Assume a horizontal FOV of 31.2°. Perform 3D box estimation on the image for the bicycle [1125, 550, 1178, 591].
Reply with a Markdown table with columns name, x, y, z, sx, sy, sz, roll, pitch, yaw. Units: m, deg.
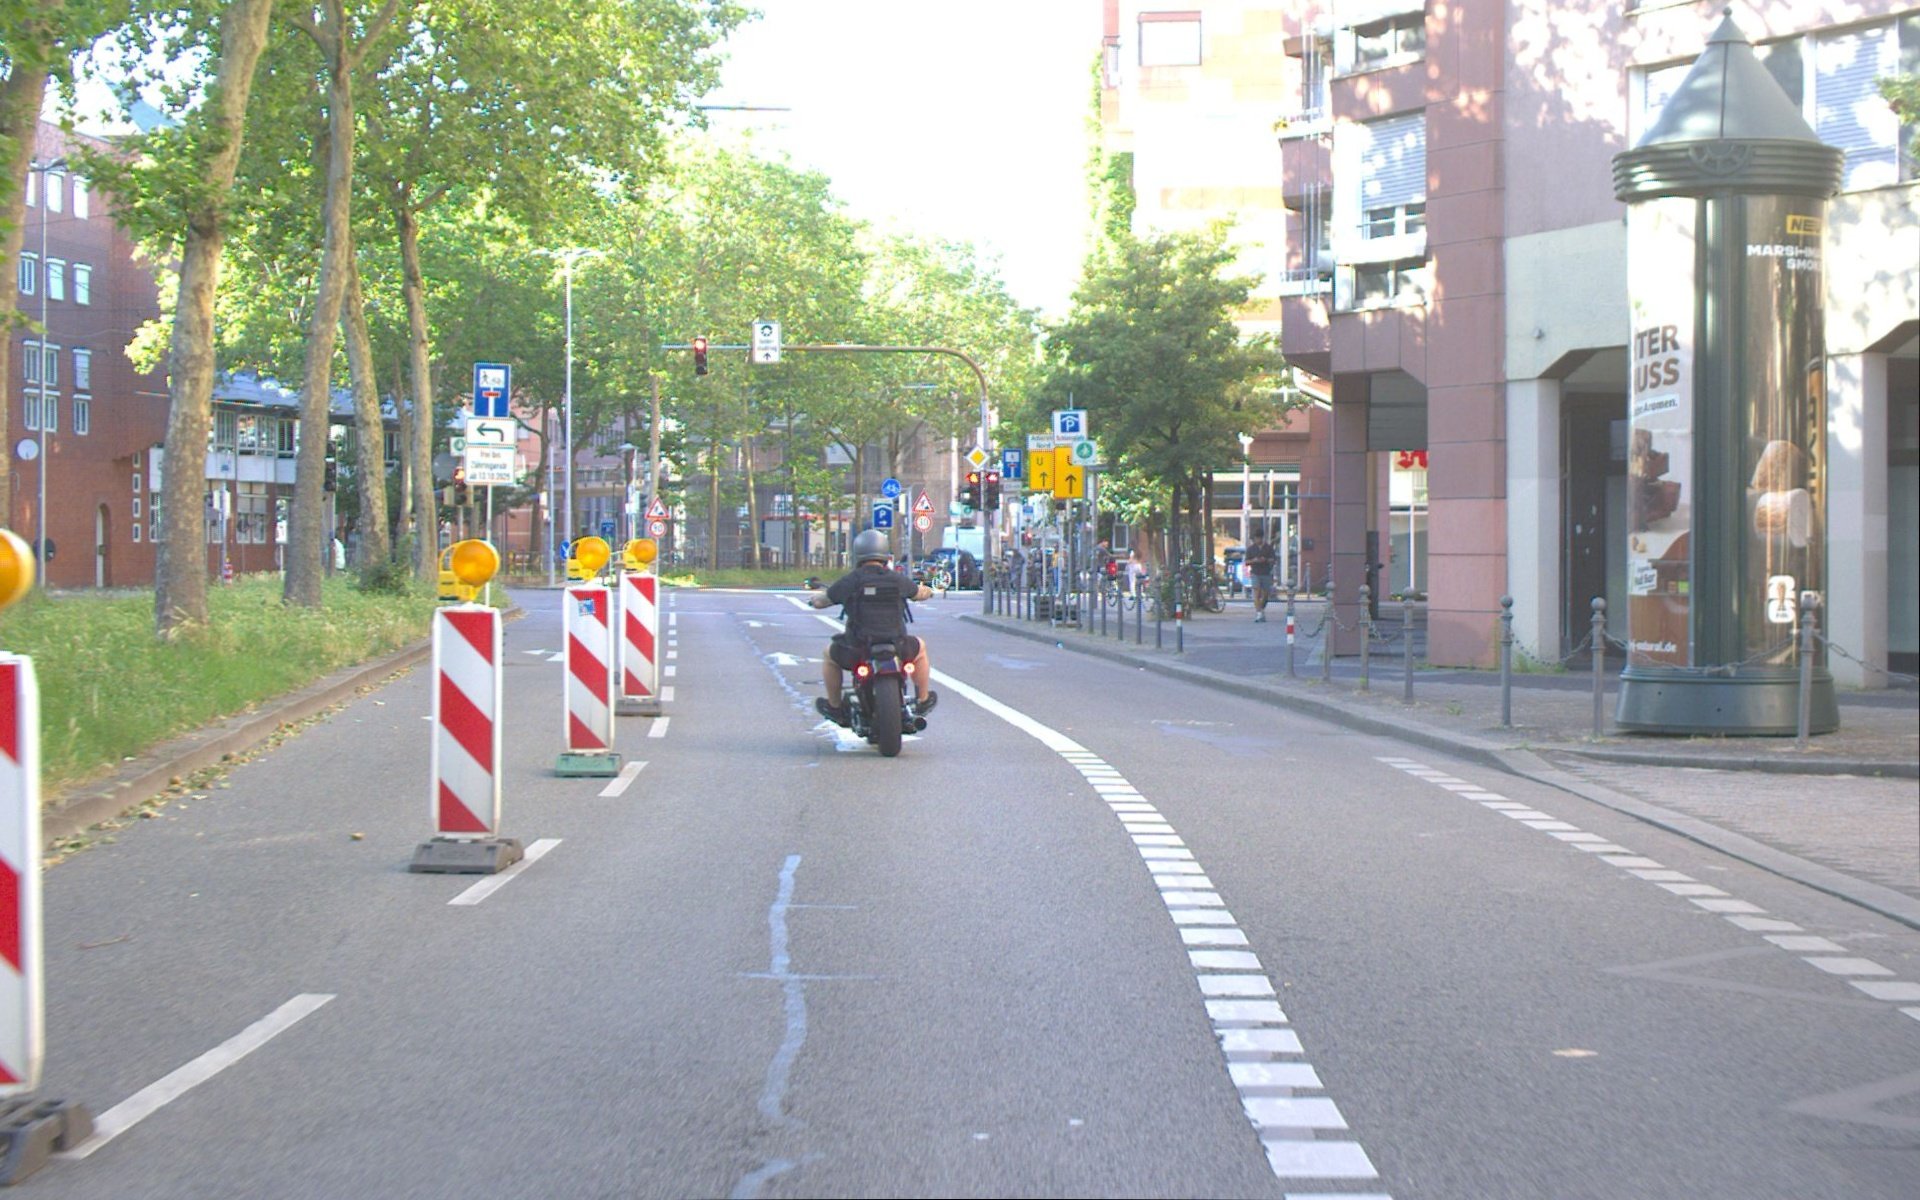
| name | x | y | z | sx | sy | sz | roll | pitch | yaw |
| --- | --- | --- | --- | --- | --- | --- | --- | --- | --- |
| bicycle | 5.771 | -0.878 | 103.495 | 1.567 | 1.223 | 0.577 | 0 | 1 | 2 |

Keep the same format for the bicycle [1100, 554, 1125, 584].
| name | x | y | z | sx | sy | sz | roll | pitch | yaw |
| --- | --- | --- | --- | --- | --- | --- | --- | --- | --- |
| bicycle | 4.946 | -1.007 | 111.527 | 0.737 | 0.936 | 1.752 | 0 | 1 | 0 |

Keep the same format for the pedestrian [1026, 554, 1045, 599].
| name | x | y | z | sx | sy | sz | roll | pitch | yaw |
| --- | --- | --- | --- | --- | --- | --- | --- | --- | --- |
| pedestrian | 2.678 | -0.846 | 121.280 | 0.644 | 1.573 | 0.748 | 0 | 1 | 0 |

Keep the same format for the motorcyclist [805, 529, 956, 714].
| name | x | y | z | sx | sy | sz | roll | pitch | yaw |
| --- | --- | --- | --- | --- | --- | --- | --- | --- | --- |
| motorcyclist | -0.575 | 0.144 | 24.659 | 1.011 | 1.258 | 0.774 | 2 | 1 | -2 |

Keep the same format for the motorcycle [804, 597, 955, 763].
| name | x | y | z | sx | sy | sz | roll | pitch | yaw |
| --- | --- | --- | --- | --- | --- | --- | --- | --- | --- |
| motorcycle | -0.588 | 0.548 | 24.530 | 1.018 | 1.093 | 2.008 | 1 | 1 | -2 |

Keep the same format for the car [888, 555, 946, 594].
| name | x | y | z | sx | sy | sz | roll | pitch | yaw |
| --- | --- | --- | --- | --- | --- | --- | --- | --- | --- |
| car | -1.458 | -0.901 | 119.246 | 1.620 | 1.298 | 4.311 | 0 | 1 | 5 |

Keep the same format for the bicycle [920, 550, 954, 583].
| name | x | y | z | sx | sy | sz | roll | pitch | yaw |
| --- | --- | --- | --- | --- | --- | --- | --- | --- | --- |
| bicycle | -0.747 | -1.092 | 112.107 | 0.737 | 1.049 | 1.753 | 0 | 1 | -13 |

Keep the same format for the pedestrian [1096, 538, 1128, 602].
| name | x | y | z | sx | sy | sz | roll | pitch | yaw |
| --- | --- | --- | --- | --- | --- | --- | --- | --- | --- |
| pedestrian | 4.157 | -0.817 | 94.169 | 0.785 | 1.757 | 0.610 | 0 | 1 | -6 |

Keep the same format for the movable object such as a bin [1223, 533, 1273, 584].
| name | x | y | z | sx | sy | sz | roll | pitch | yaw |
| --- | --- | --- | --- | --- | --- | --- | --- | --- | --- |
| movable object such as a bin | 8.455 | -1.212 | 100.896 | 1.410 | 1.477 | 0.871 | 0 | 1 | 8 |

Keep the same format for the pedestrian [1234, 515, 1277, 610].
| name | x | y | z | sx | sy | sz | roll | pitch | yaw |
| --- | --- | --- | --- | --- | --- | --- | --- | --- | --- |
| pedestrian | 5.406 | -0.686 | 62.904 | 0.781 | 1.732 | 0.837 | 0 | 1 | 5 |

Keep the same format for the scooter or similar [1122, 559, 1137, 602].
| name | x | y | z | sx | sy | sz | roll | pitch | yaw |
| --- | --- | --- | --- | --- | --- | --- | --- | --- | --- |
| scooter or similar | 4.628 | -0.530 | 94.081 | 0.394 | 1.154 | 1.249 | 0 | 1 | 2 |

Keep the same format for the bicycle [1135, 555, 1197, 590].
| name | x | y | z | sx | sy | sz | roll | pitch | yaw |
| --- | --- | --- | --- | --- | --- | --- | --- | --- | --- |
| bicycle | 6.391 | -0.862 | 106.601 | 1.748 | 1.049 | 0.738 | 1 | 1 | 24 |

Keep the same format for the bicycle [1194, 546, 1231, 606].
| name | x | y | z | sx | sy | sz | roll | pitch | yaw |
| --- | --- | --- | --- | --- | --- | --- | --- | --- | --- |
| bicycle | 5.304 | -0.511 | 72.193 | 0.622 | 1.221 | 1.926 | 0 | 1 | 9 |

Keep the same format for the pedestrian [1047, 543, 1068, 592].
| name | x | y | z | sx | sy | sz | roll | pitch | yaw |
| --- | --- | --- | --- | --- | --- | --- | --- | --- | --- |
| pedestrian | 3.427 | -1.153 | 121.187 | 0.700 | 1.727 | 0.768 | 0 | 1 | 0 |

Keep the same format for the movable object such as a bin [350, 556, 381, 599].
| name | x | y | z | sx | sy | sz | roll | pitch | yaw |
| --- | --- | --- | --- | --- | --- | --- | --- | --- | --- |
| movable object such as a bin | -13.080 | -0.499 | 75.622 | 0.510 | 0.950 | 0.539 | 0 | 1 | 9 |

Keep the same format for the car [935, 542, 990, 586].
| name | x | y | z | sx | sy | sz | roll | pitch | yaw |
| --- | --- | --- | --- | --- | --- | --- | --- | --- | --- |
| car | 0.109 | -1.357 | 129.167 | 1.620 | 1.614 | 4.484 | 0 | 1 | 6 |

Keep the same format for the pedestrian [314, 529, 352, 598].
| name | x | y | z | sx | sy | sz | roll | pitch | yaw |
| --- | --- | --- | --- | --- | --- | --- | --- | --- | --- |
| pedestrian | -13.736 | -0.799 | 75.346 | 0.619 | 1.498 | 0.534 | 1 | 1 | 22 |

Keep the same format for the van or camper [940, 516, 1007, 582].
| name | x | y | z | sx | sy | sz | roll | pitch | yaw |
| --- | --- | --- | --- | --- | --- | --- | --- | --- | --- |
| van or camper | 0.551 | -1.995 | 135.511 | 2.049 | 2.532 | 5.772 | 0 | 1 | 6 |

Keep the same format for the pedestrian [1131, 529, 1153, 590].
| name | x | y | z | sx | sy | sz | roll | pitch | yaw |
| --- | --- | --- | --- | --- | --- | --- | --- | --- | --- |
| pedestrian | 5.006 | -1.104 | 94.574 | 0.459 | 1.667 | 0.680 | 0 | 1 | -13 |
